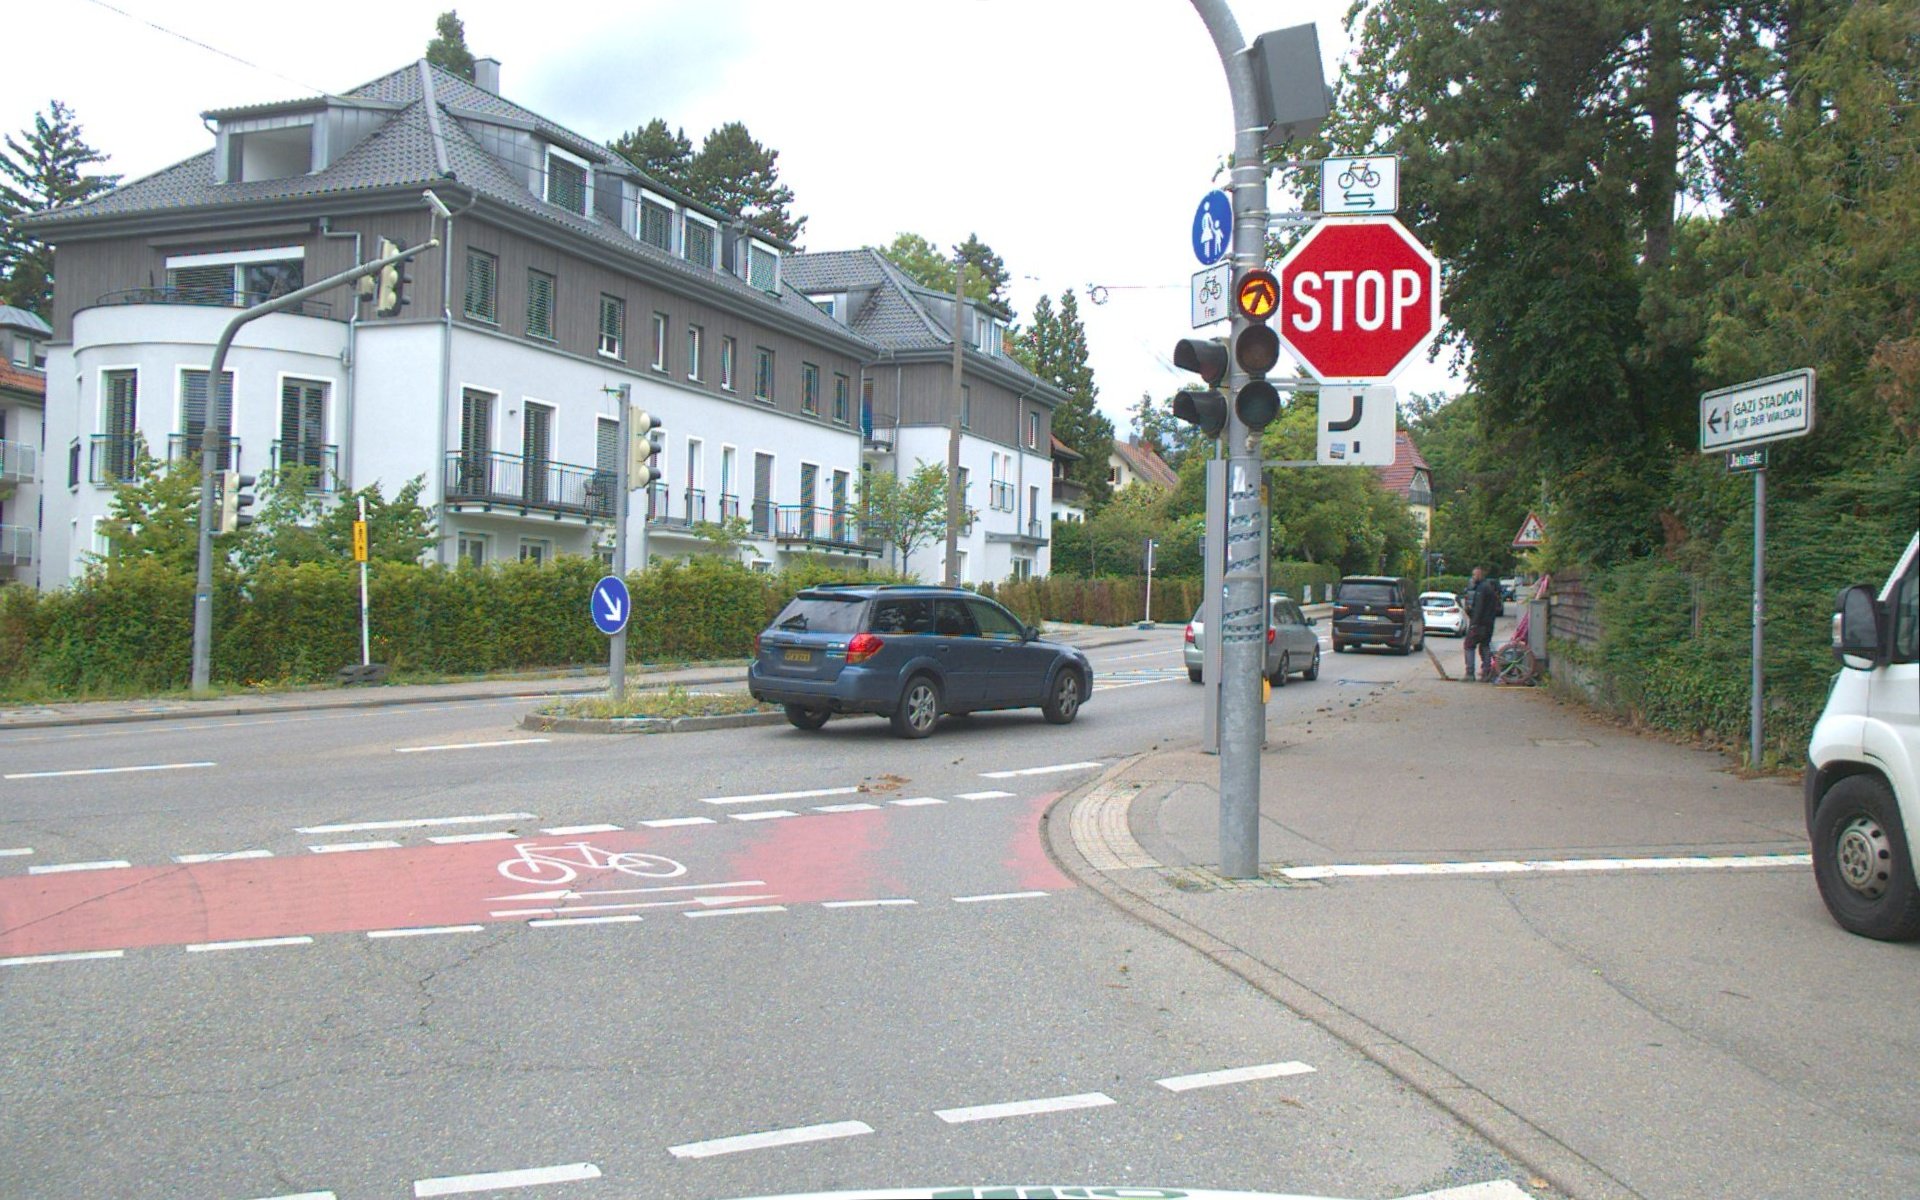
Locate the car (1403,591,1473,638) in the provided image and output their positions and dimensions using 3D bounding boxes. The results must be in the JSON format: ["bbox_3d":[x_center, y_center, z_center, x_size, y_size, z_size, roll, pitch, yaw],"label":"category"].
[{"bbox_3d":[16.305,0.468,56.311,1.804,1.485,4.077,2,1,22],"label":"car"}]

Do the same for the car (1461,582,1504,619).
[{"bbox_3d":[27.967,-0.003,88.440,1.899,1.857,4.078,2,1,21],"label":"car"}]

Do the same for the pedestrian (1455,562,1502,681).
[{"bbox_3d":[8.615,0.353,27.509,0.584,1.940,0.558,1,0,0],"label":"pedestrian"}]

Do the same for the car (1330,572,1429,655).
[{"bbox_3d":[10.836,0.302,42.500,1.879,1.927,4.909,2,1,20],"label":"car"}]

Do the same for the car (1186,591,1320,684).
[{"bbox_3d":[5.028,0.588,28.041,1.658,1.455,3.749,-1,0,19],"label":"car"}]

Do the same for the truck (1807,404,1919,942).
[{"bbox_3d":[5.124,0.324,5.095,2.162,2.283,5.724,1,0,1],"label":"truck"}]

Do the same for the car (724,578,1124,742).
[{"bbox_3d":[-0.236,0.552,18.037,1.771,1.553,4.721,-1,0,38],"label":"car"}]
